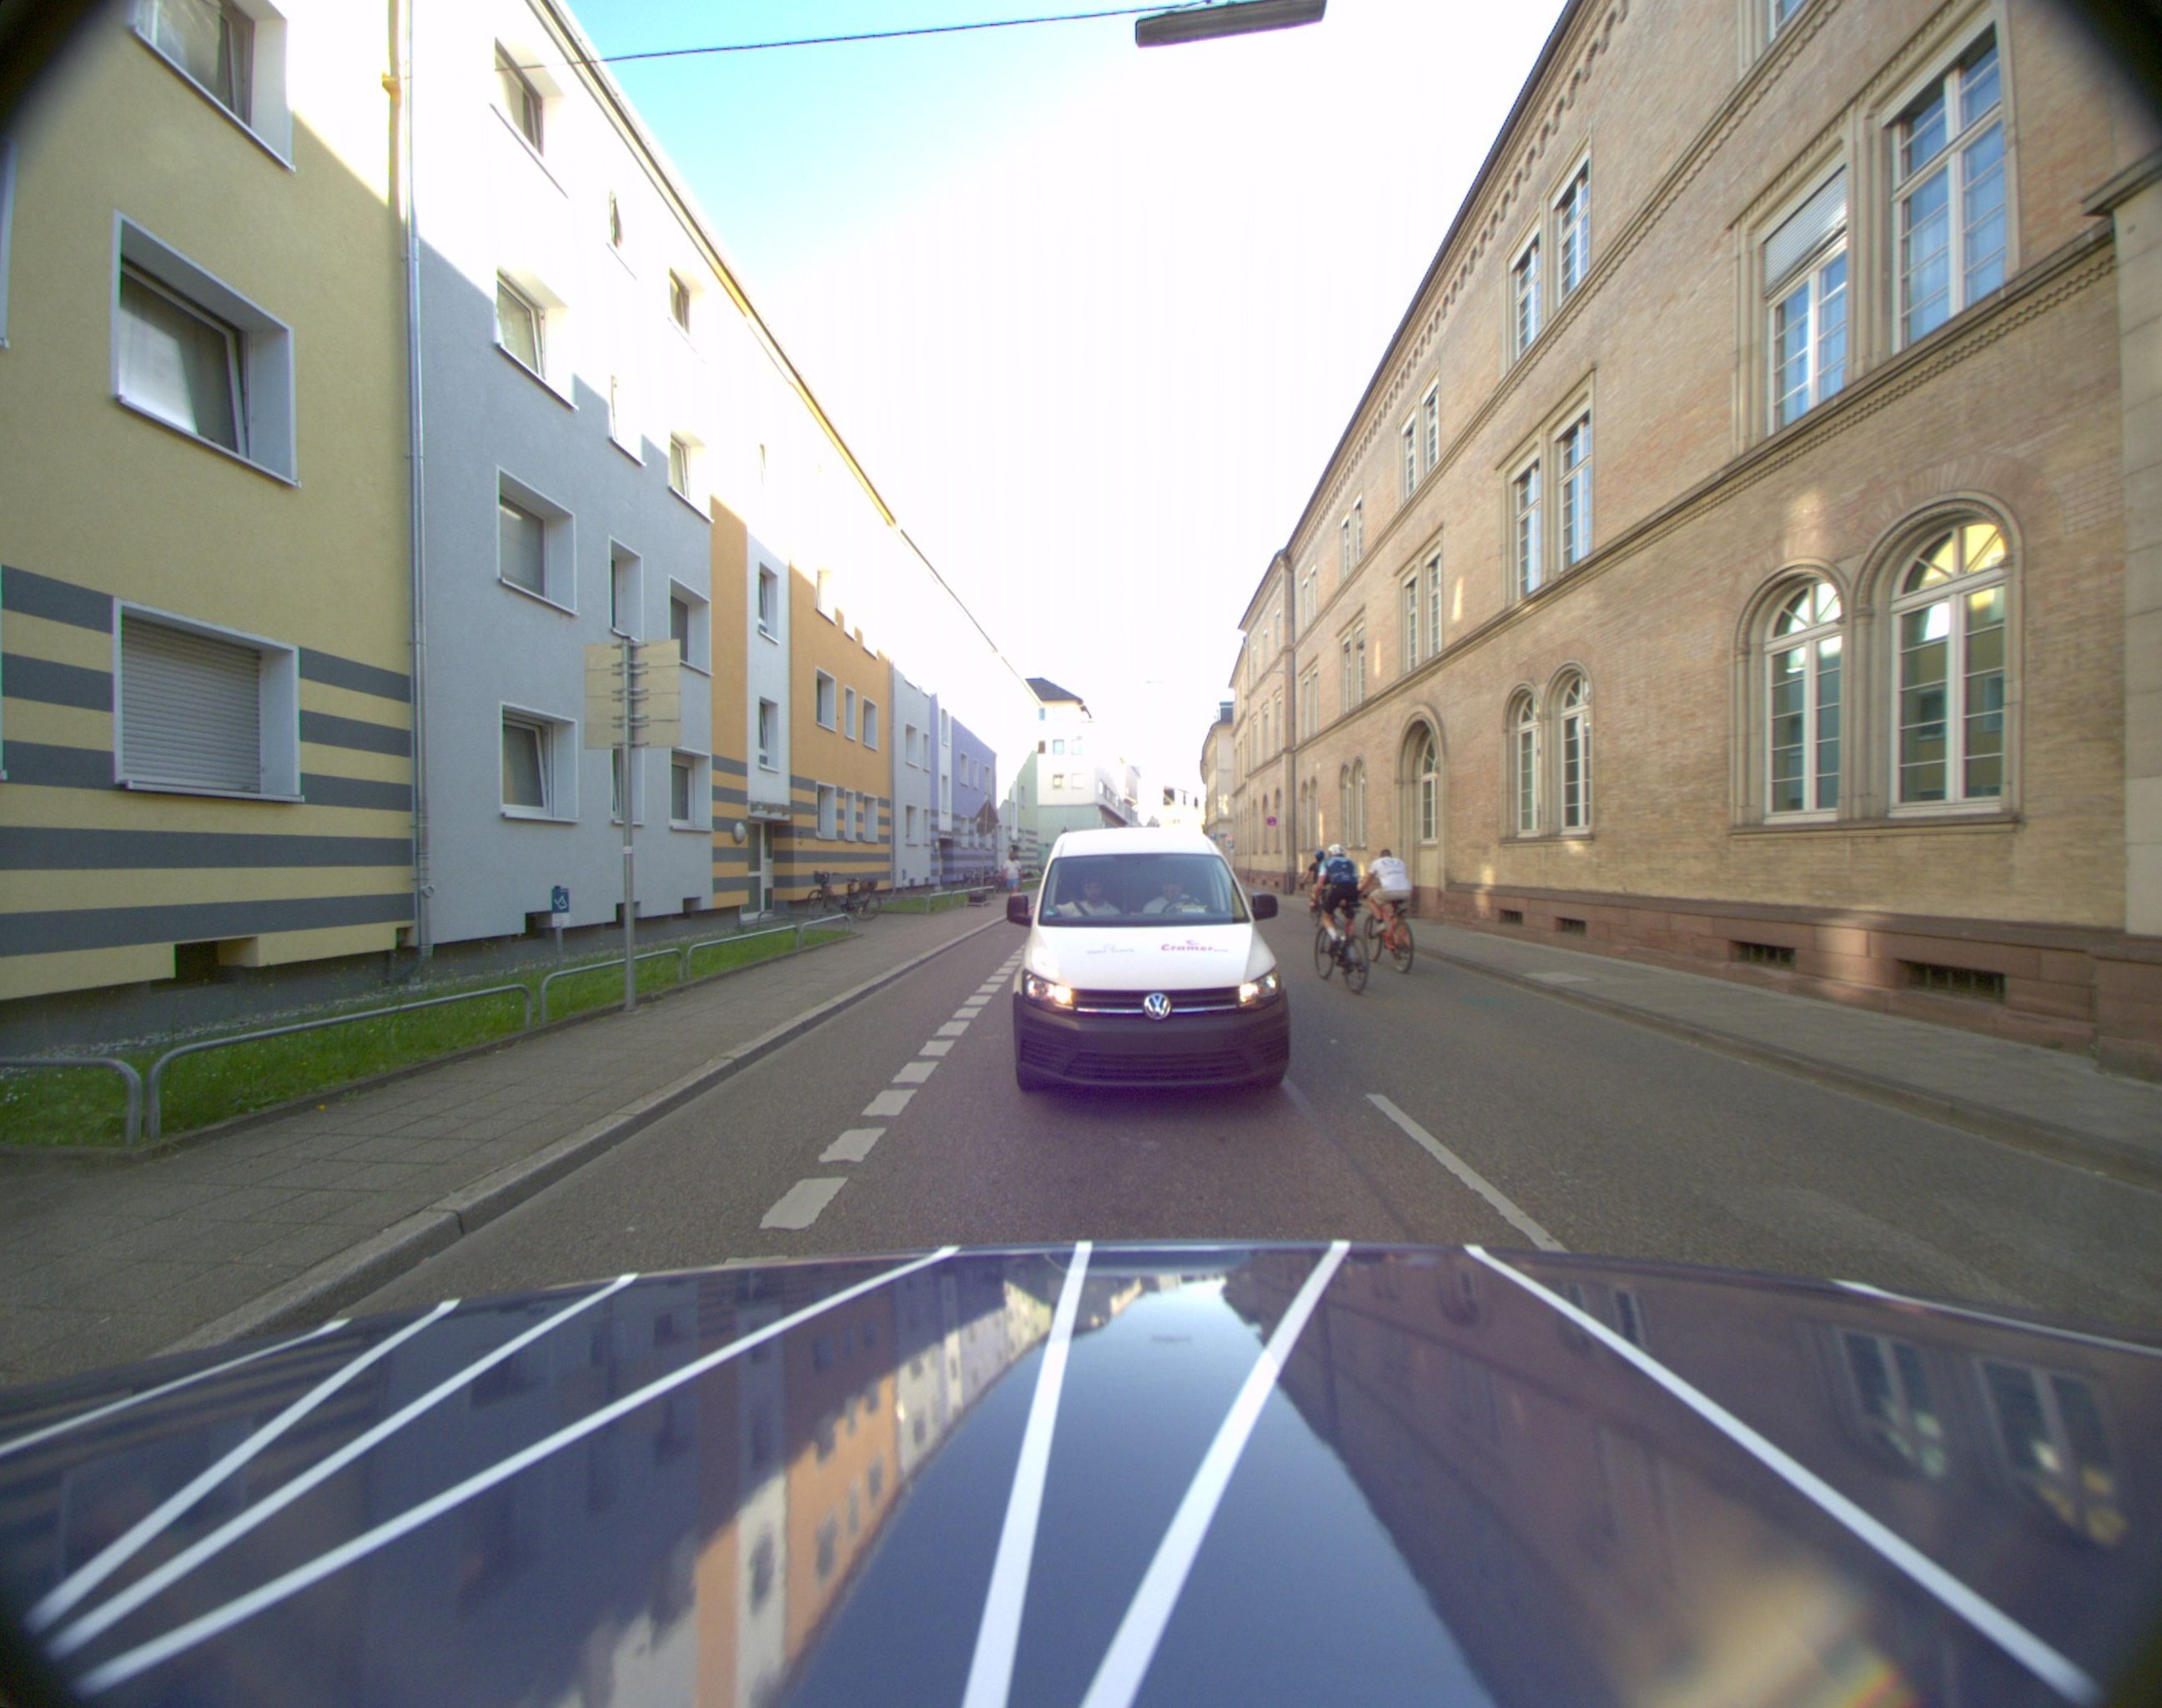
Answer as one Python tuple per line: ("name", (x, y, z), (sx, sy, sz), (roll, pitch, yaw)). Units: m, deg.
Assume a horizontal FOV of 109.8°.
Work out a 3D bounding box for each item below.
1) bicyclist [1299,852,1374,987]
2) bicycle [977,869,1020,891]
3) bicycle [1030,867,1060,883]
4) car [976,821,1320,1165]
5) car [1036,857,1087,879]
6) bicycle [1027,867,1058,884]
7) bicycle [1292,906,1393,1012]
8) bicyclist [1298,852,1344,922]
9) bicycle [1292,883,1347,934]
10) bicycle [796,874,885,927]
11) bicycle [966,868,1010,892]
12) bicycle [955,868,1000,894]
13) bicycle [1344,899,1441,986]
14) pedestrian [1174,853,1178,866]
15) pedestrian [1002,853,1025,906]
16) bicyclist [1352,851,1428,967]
("bicyclist", (3.048, 0.749, 9.137), (0.546, 1.524, 0.869), (2, 0, 0))
("bicycle", (-3.659, 1.158, 33.813), (1.775, 0.934, 0.584), (1, 1, 7))
("bicycle", (-2.236, 1.335, 47.606), (1.775, 0.934, 0.584), (1, 1, 7))
("car", (0.393, 0.751, 6.715), (1.819, 1.825, 5.341), (0, 0, 1))
("car", (-1.595, 1.168, 63.472), (3.995, 1.681, 1.901), (-2, 1, 5))
("bicycle", (-2.315, 1.304, 46.068), (1.775, 0.934, 0.584), (1, 1, 7))
("bicycle", (3.042, 1.184, 9.001), (0.546, 1.001, 1.757), (2, 0, 0))
("bicyclist", (5.375, 0.726, 17.096), (0.651, 1.500, 1.111), (2, 0, 2))
("bicycle", (5.358, 1.210, 17.178), (0.651, 1.001, 1.876), (2, 0, 2))
("bicycle", (-5.394, 1.028, 17.098), (1.776, 1.118, 0.583), (1, 1, -1))
("bicycle", (-4.049, 1.121, 33.197), (1.775, 0.990, 0.584), (1, 1, 7))
("bicycle", (-4.326, 1.130, 31.855), (1.775, 0.990, 0.584), (1, 1, 7))
("bicycle", (4.374, 1.210, 10.826), (0.651, 1.001, 1.807), (2, 0, 2))
("pedestrian", (14.563, 0.866, 116.509), (0.644, 1.937, 0.779), (0, 0, 10))
("pedestrian", (-2.195, 0.819, 24.750), (0.644, 1.662, 0.834), (1, 0, 3))
("bicyclist", (4.379, 0.747, 10.826), (0.651, 1.558, 0.961), (2, 0, 2))
